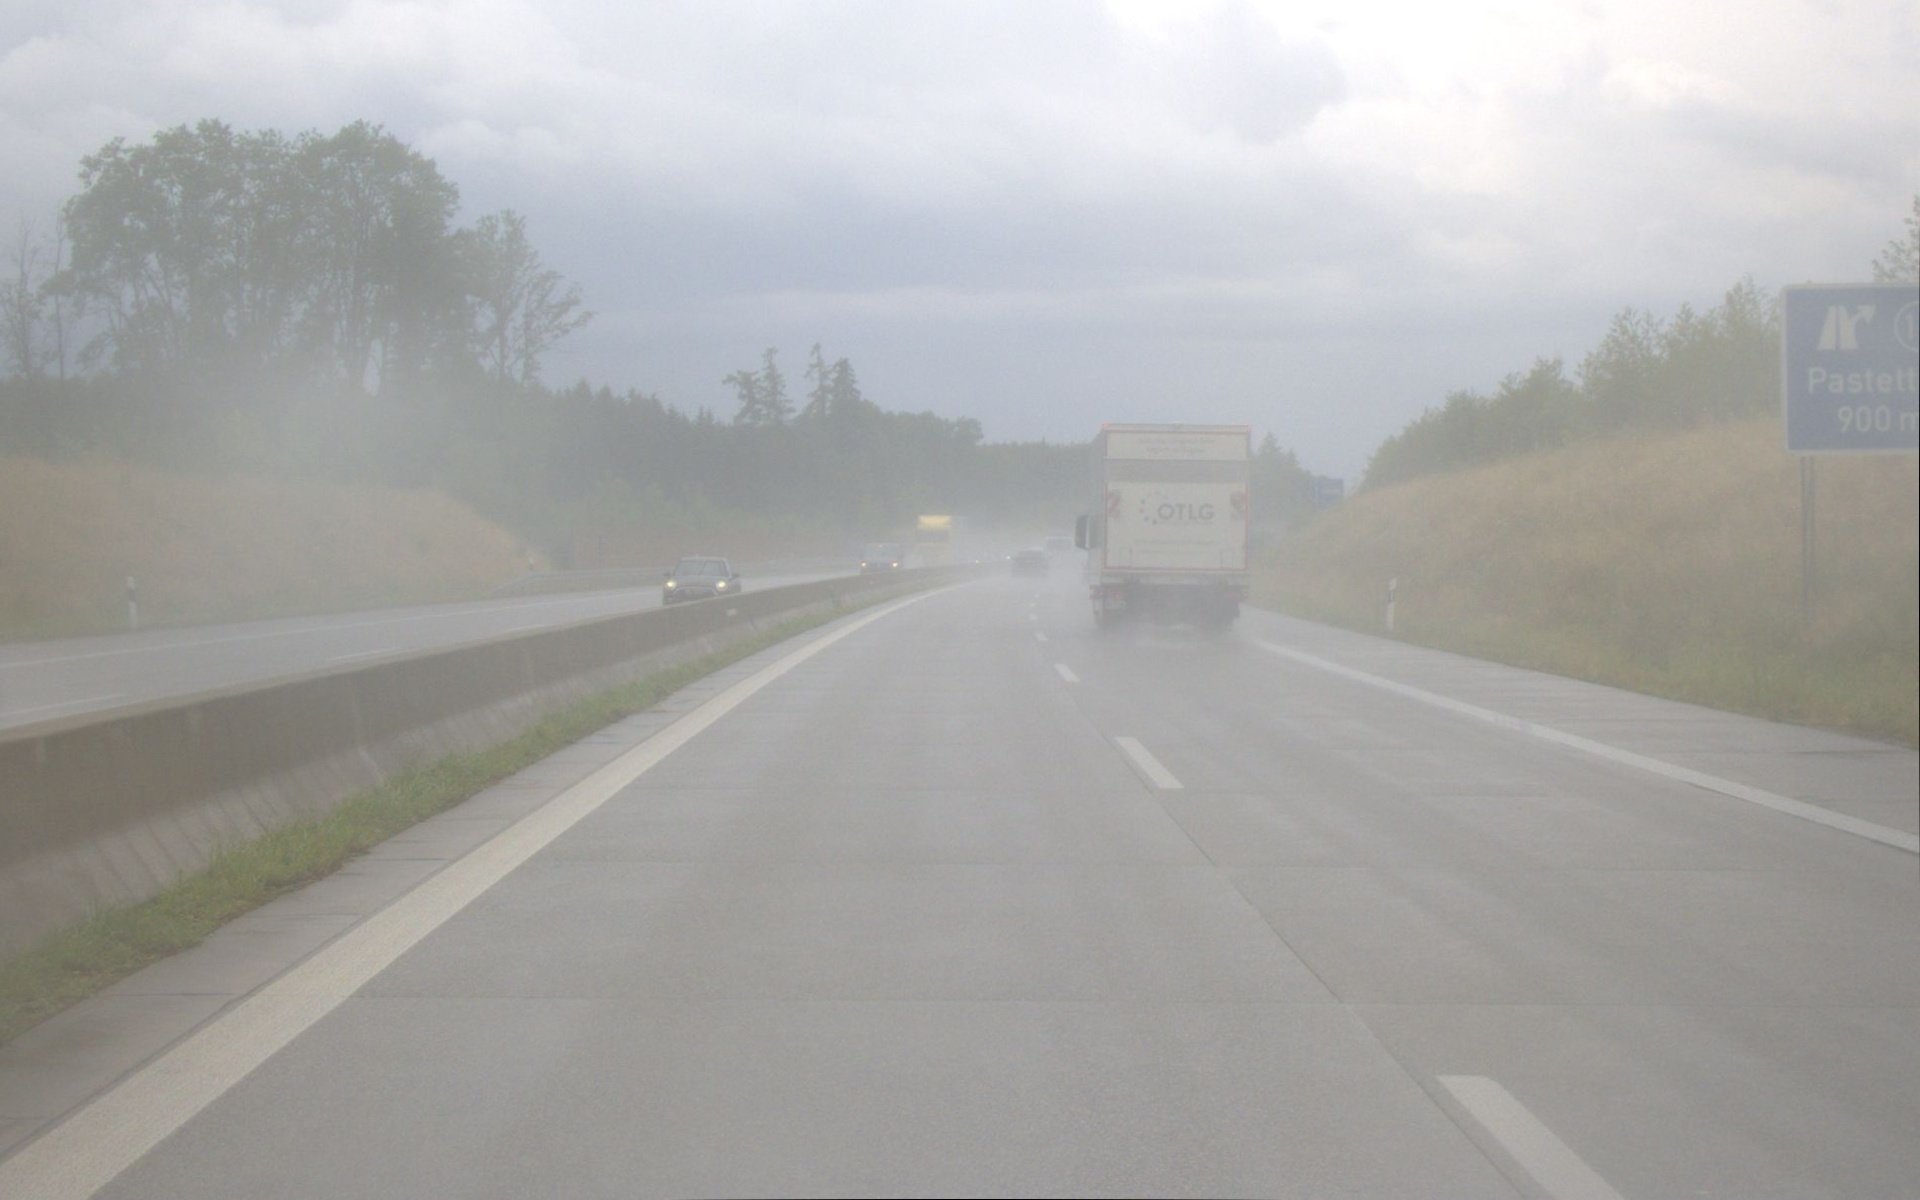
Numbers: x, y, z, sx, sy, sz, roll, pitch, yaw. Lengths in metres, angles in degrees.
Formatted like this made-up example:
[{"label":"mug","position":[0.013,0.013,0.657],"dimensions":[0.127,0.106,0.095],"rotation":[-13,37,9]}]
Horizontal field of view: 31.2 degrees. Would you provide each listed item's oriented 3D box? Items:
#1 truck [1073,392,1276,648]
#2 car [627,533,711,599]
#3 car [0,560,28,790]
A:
[{"label":"truck","position":[3.833,-1.519,63.455],"dimensions":[3.243,4.421,8.247],"rotation":[0,2,0]},{"label":"car","position":[-7.016,-0.841,83.180],"dimensions":[1.623,1.423,4.001],"rotation":[-2,3,0]},{"label":"car","position":[-7.457,0.632,21.669],"dimensions":[1.993,1.513,4.189],"rotation":[-2,3,0]}]
